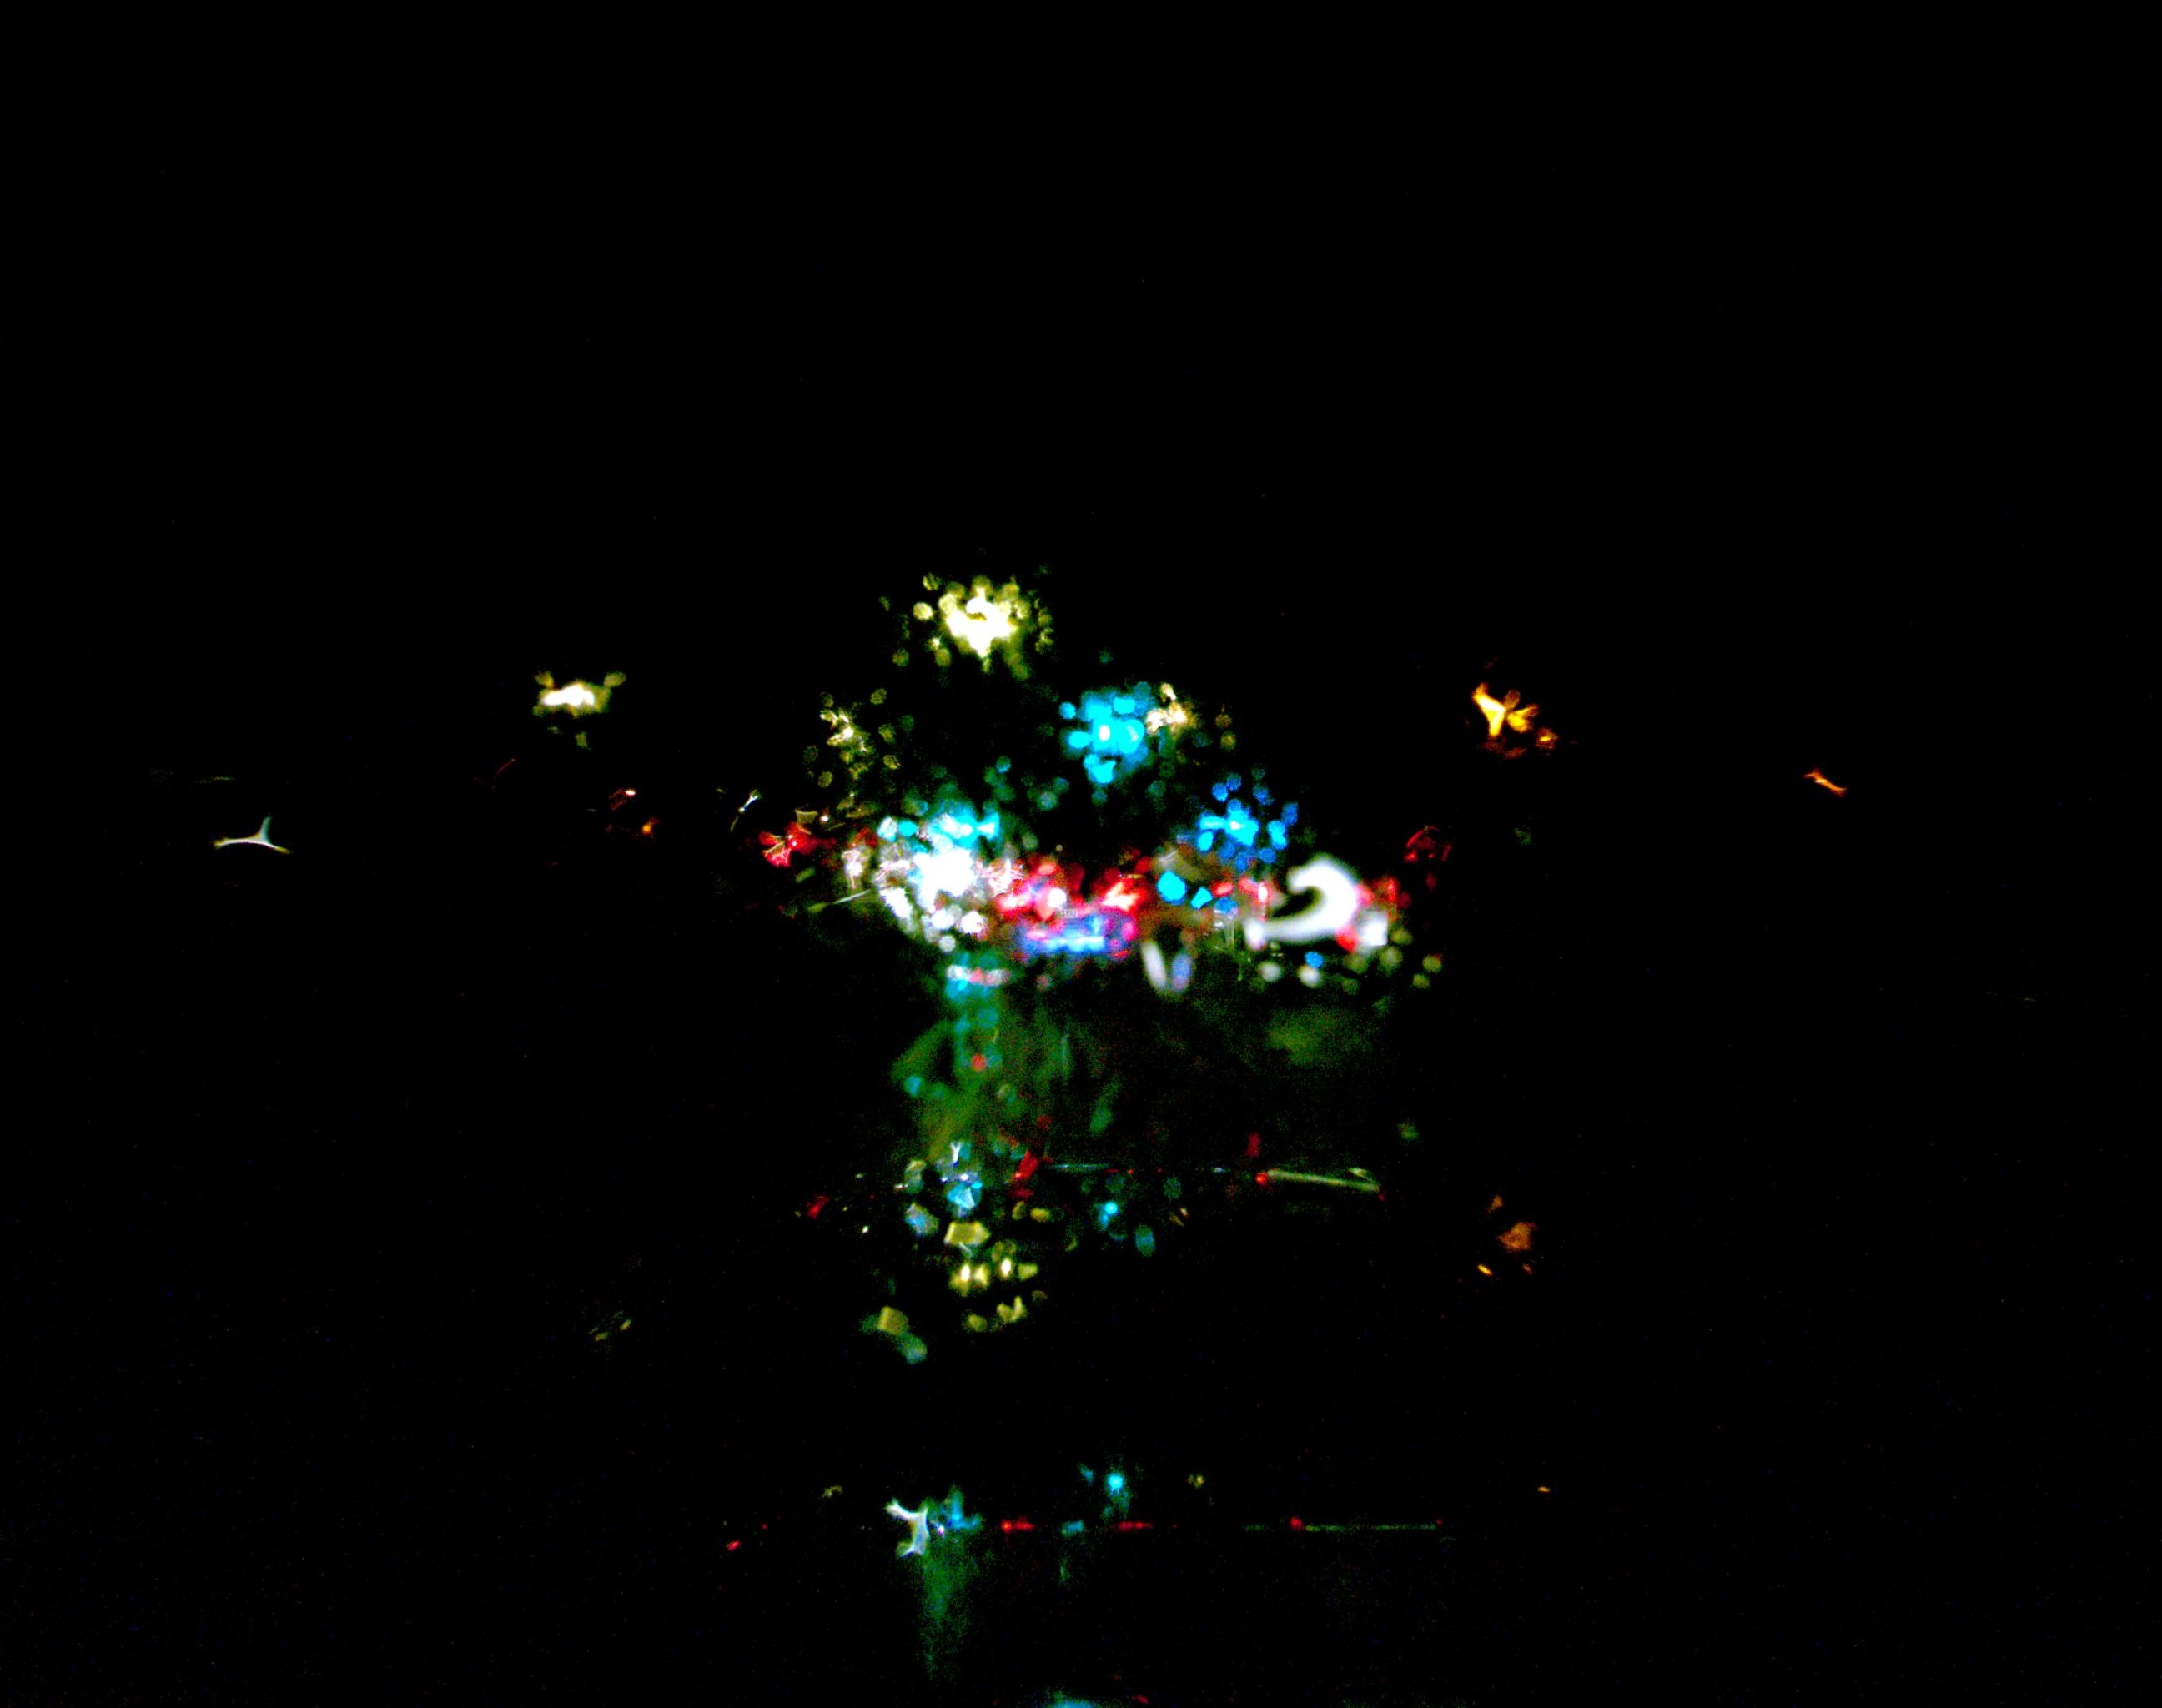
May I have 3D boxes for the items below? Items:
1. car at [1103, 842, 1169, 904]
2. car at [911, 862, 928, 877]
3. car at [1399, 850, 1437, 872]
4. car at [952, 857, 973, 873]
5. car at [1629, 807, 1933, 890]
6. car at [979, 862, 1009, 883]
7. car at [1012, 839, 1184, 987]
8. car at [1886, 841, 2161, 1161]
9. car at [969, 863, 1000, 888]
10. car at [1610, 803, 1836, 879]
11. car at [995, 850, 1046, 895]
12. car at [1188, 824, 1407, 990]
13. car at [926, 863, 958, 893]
[{"bbox_3d":[1.881,0.654,29.043,1.964,2.047,3.997,0,-1,-2],"label":"car"},{"bbox_3d":[-20.721,1.974,104.473,1.996,1.824,3.981,0,-1,-14],"label":"car"},{"bbox_3d":[25.733,0.542,62.302,1.761,1.669,4.081,0,-1,10],"label":"car"},{"bbox_3d":[-13.257,1.223,91.050,1.996,1.820,3.981,0,-1,-13],"label":"car"},{"bbox_3d":[13.484,-0.074,16.095,4.286,1.460,1.863,0,-1,30],"label":"car"},{"bbox_3d":[-7.346,1.531,68.349,1.996,1.670,3.980,0,-1,-14],"label":"car"},{"bbox_3d":[0.140,0.707,11.743,2.009,1.717,4.448,0,-1,-2],"label":"car"},{"bbox_3d":[5.831,0.667,2.892,1.779,1.442,4.238,-2,0,1],"label":"car"},{"bbox_3d":[-7.208,1.573,60.525,1.995,1.732,3.984,0,-1,-12],"label":"car"},{"bbox_3d":[14.419,-0.245,18.605,3.838,1.574,1.845,0,-1,30],"label":"car"},{"bbox_3d":[-2.938,0.866,38.986,1.994,2.014,3.985,0,-1,-11],"label":"car"},{"bbox_3d":[2.740,0.620,11.387,1.846,1.865,4.338,0,-1,-1],"label":"car"},{"bbox_3d":[-9.539,1.589,55.534,2.016,1.887,4.434,0,0,-12],"label":"car"}]
